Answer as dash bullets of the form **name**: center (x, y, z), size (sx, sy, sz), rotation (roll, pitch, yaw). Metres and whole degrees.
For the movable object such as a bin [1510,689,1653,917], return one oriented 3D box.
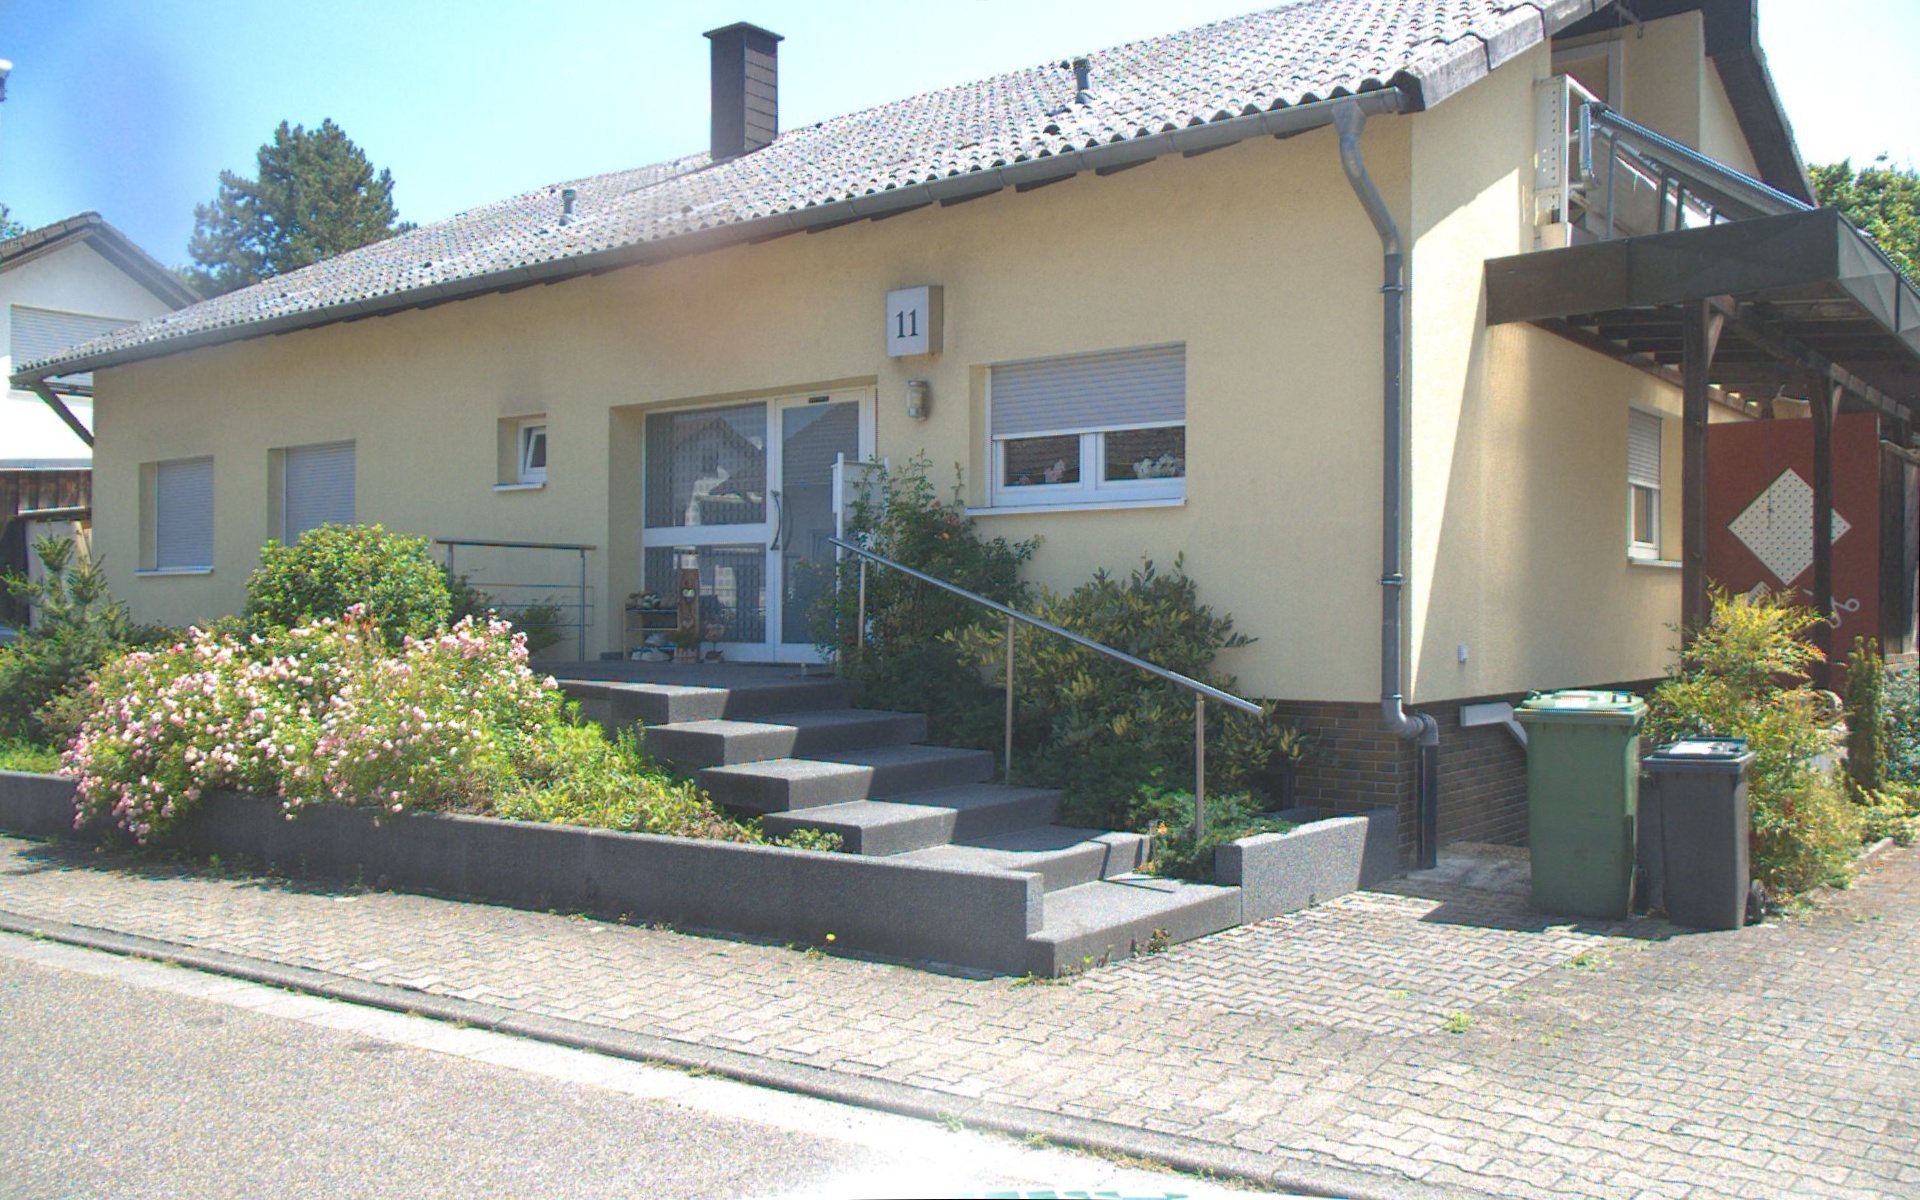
- **movable object such as a bin**: center (3.102, 0.986, 8.253), size (0.580, 1.059, 0.490), rotation (-1, -1, 31)

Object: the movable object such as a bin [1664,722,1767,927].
- **movable object such as a bin**: center (3.604, 1.050, 7.884), size (0.399, 0.907, 0.425), rotation (-1, -1, 30)

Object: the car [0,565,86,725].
- **car**: center (-12.011, 0.523, 17.479), size (1.678, 1.732, 4.617), rotation (0, 1, 41)
